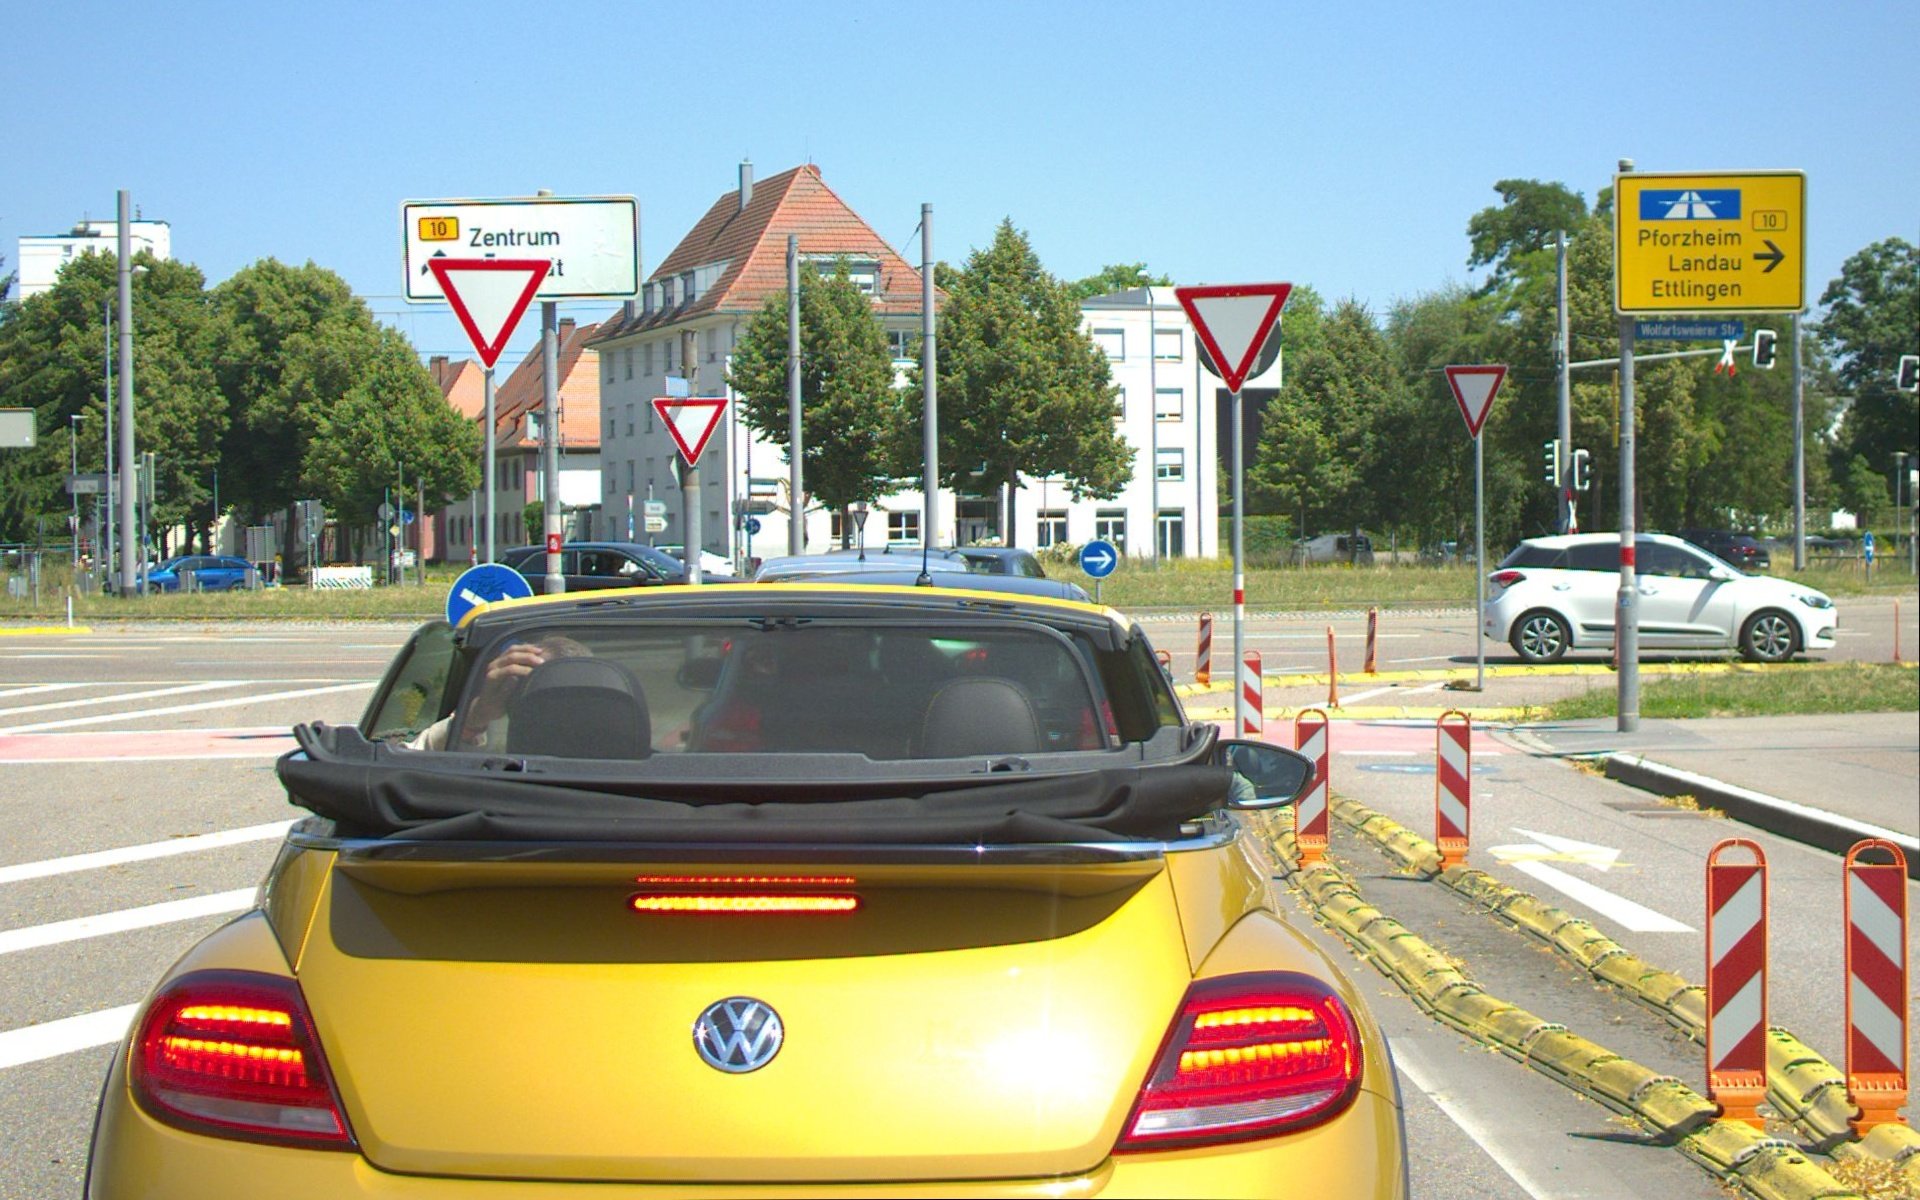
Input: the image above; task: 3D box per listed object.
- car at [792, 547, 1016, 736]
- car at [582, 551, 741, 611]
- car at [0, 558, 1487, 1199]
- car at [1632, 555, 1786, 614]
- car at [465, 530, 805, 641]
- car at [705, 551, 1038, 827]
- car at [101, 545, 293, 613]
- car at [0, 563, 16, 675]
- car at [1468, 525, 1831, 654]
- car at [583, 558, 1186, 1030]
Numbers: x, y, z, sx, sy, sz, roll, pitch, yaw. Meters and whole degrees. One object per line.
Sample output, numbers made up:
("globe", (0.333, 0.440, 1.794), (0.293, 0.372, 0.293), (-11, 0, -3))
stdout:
("car", (-0.456, 0.296, 28.768), (1.736, 1.472, 4.000), (0, 1, -1))
("car", (-9.174, -0.582, 105.359), (4.669, 1.821, 2.001), (0, 1, -11))
("car", (-0.307, 0.645, 5.797), (1.752, 1.417, 3.778), (0, 1, -1))
("car", (22.231, -0.458, 102.112), (1.943, 1.666, 4.200), (-2, 1, -36))
("car", (-4.360, -0.210, 46.434), (4.189, 1.437, 1.999), (0, 1, 10))
("car", (-0.481, 0.436, 19.936), (1.736, 1.437, 4.000), (0, 1, -1))
("car", (-21.779, -0.608, 98.194), (4.917, 1.780, 2.026), (-2, 1, -36))
("car", (-14.582, 0.237, 44.614), (4.210, 1.437, 1.997), (1, 1, 25))
("car", (7.884, -0.133, 39.619), (4.009, 1.439, 1.632), (0, 1, 8))
("car", (-0.252, 0.572, 12.547), (1.848, 1.437, 4.000), (0, 1, -1))
